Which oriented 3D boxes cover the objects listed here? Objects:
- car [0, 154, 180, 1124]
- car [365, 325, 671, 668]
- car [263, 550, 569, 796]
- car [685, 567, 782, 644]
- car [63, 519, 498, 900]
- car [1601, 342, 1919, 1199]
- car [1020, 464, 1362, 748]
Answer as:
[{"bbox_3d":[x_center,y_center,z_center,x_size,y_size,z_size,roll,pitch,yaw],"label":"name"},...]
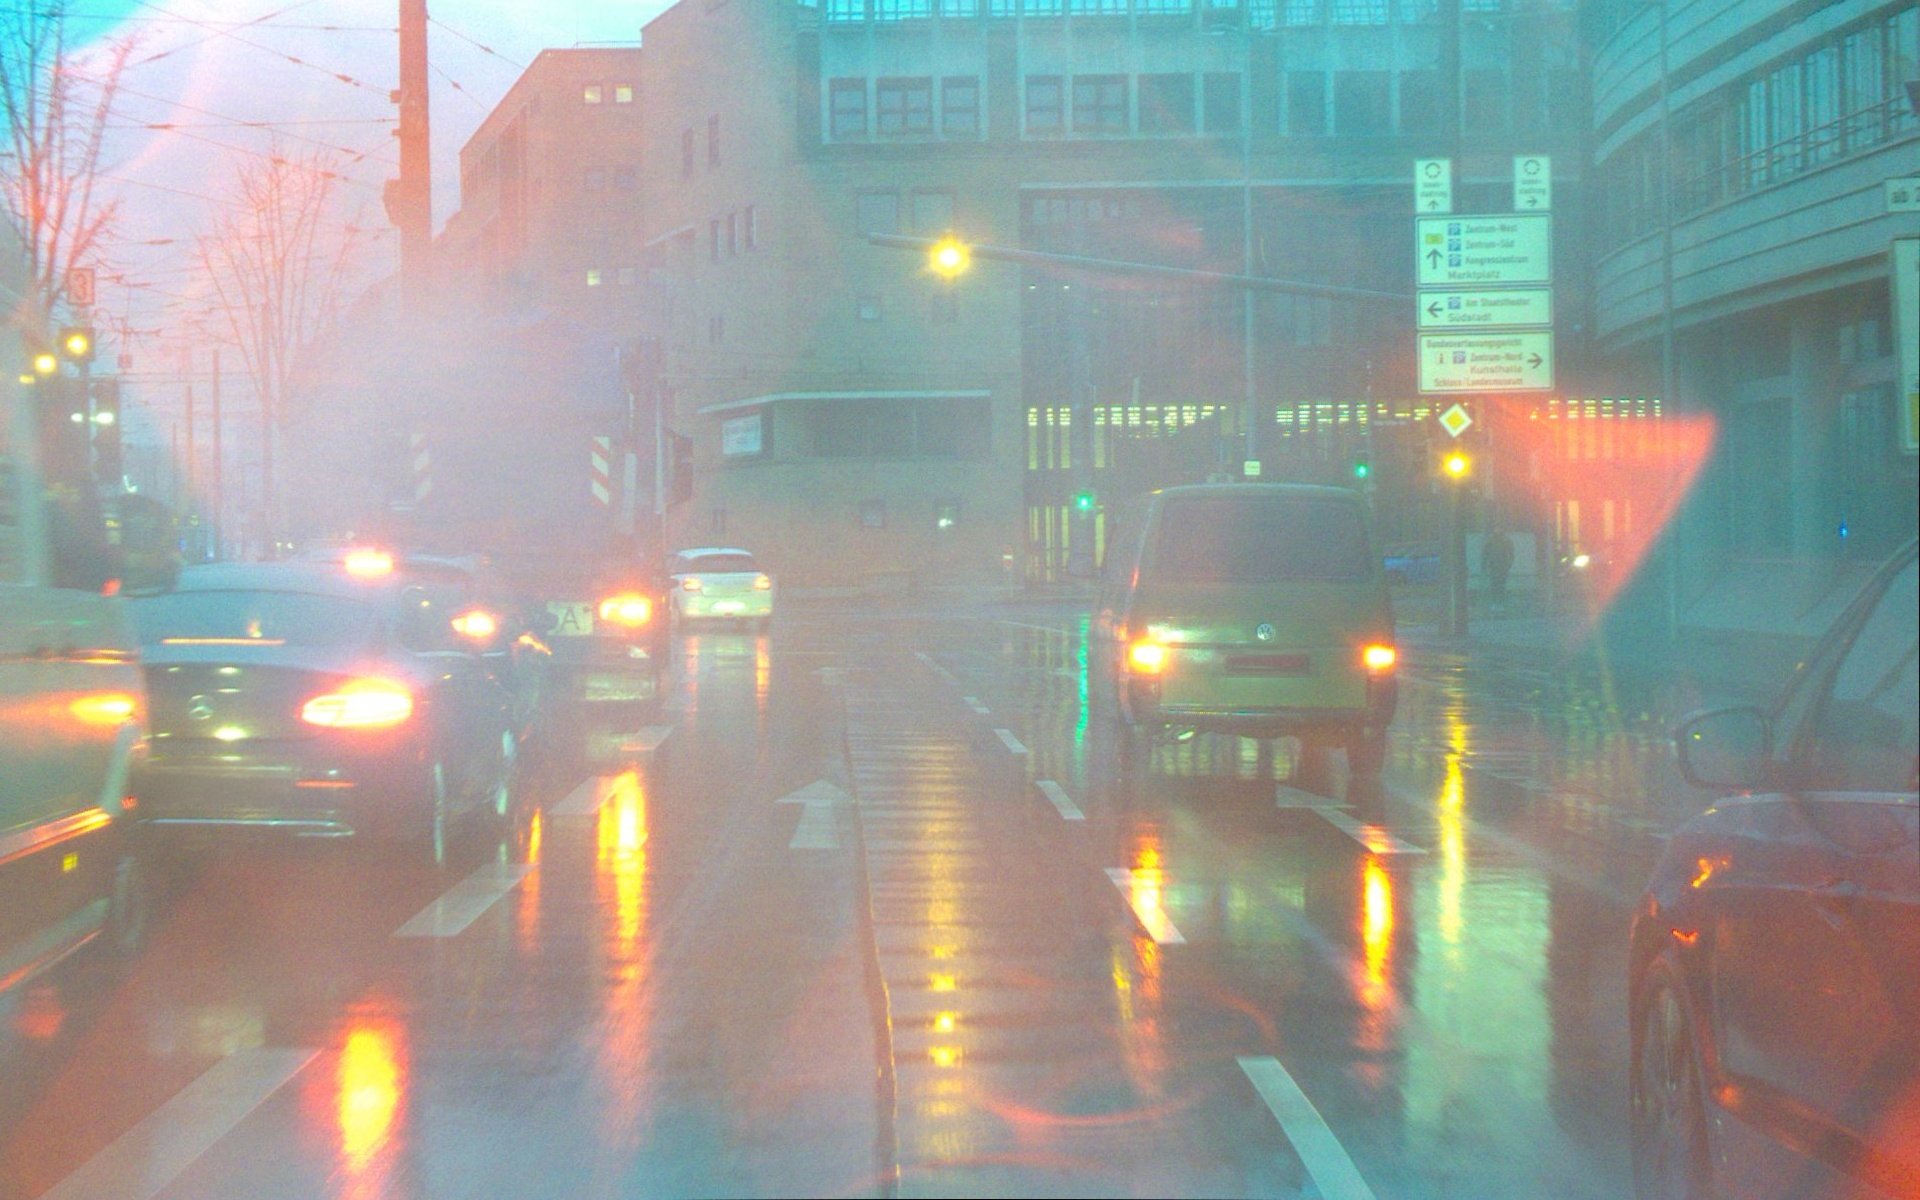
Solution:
[{"bbox_3d":[-3.407,0.096,8.691,1.993,2.419,5.975,-1,1,-5],"label":"car"},{"bbox_3d":[-3.916,-0.894,31.560,2.355,2.817,6.360,0,1,-4],"label":"car"},{"bbox_3d":[-3.557,0.419,23.060,1.704,1.503,4.001,0,1,-4],"label":"car"},{"bbox_3d":[-4.060,0.084,61.982,1.511,1.301,3.041,-1,1,0],"label":"car"},{"bbox_3d":[-2.961,0.434,15.547,1.517,1.515,3.471,-1,0,-4],"label":"car"},{"bbox_3d":[2.248,0.494,5.488,1.674,1.773,4.000,-1,1,0],"label":"car"},{"bbox_3d":[1.521,0.000,24.226,1.843,1.800,4.487,0,1,-3],"label":"car"}]
